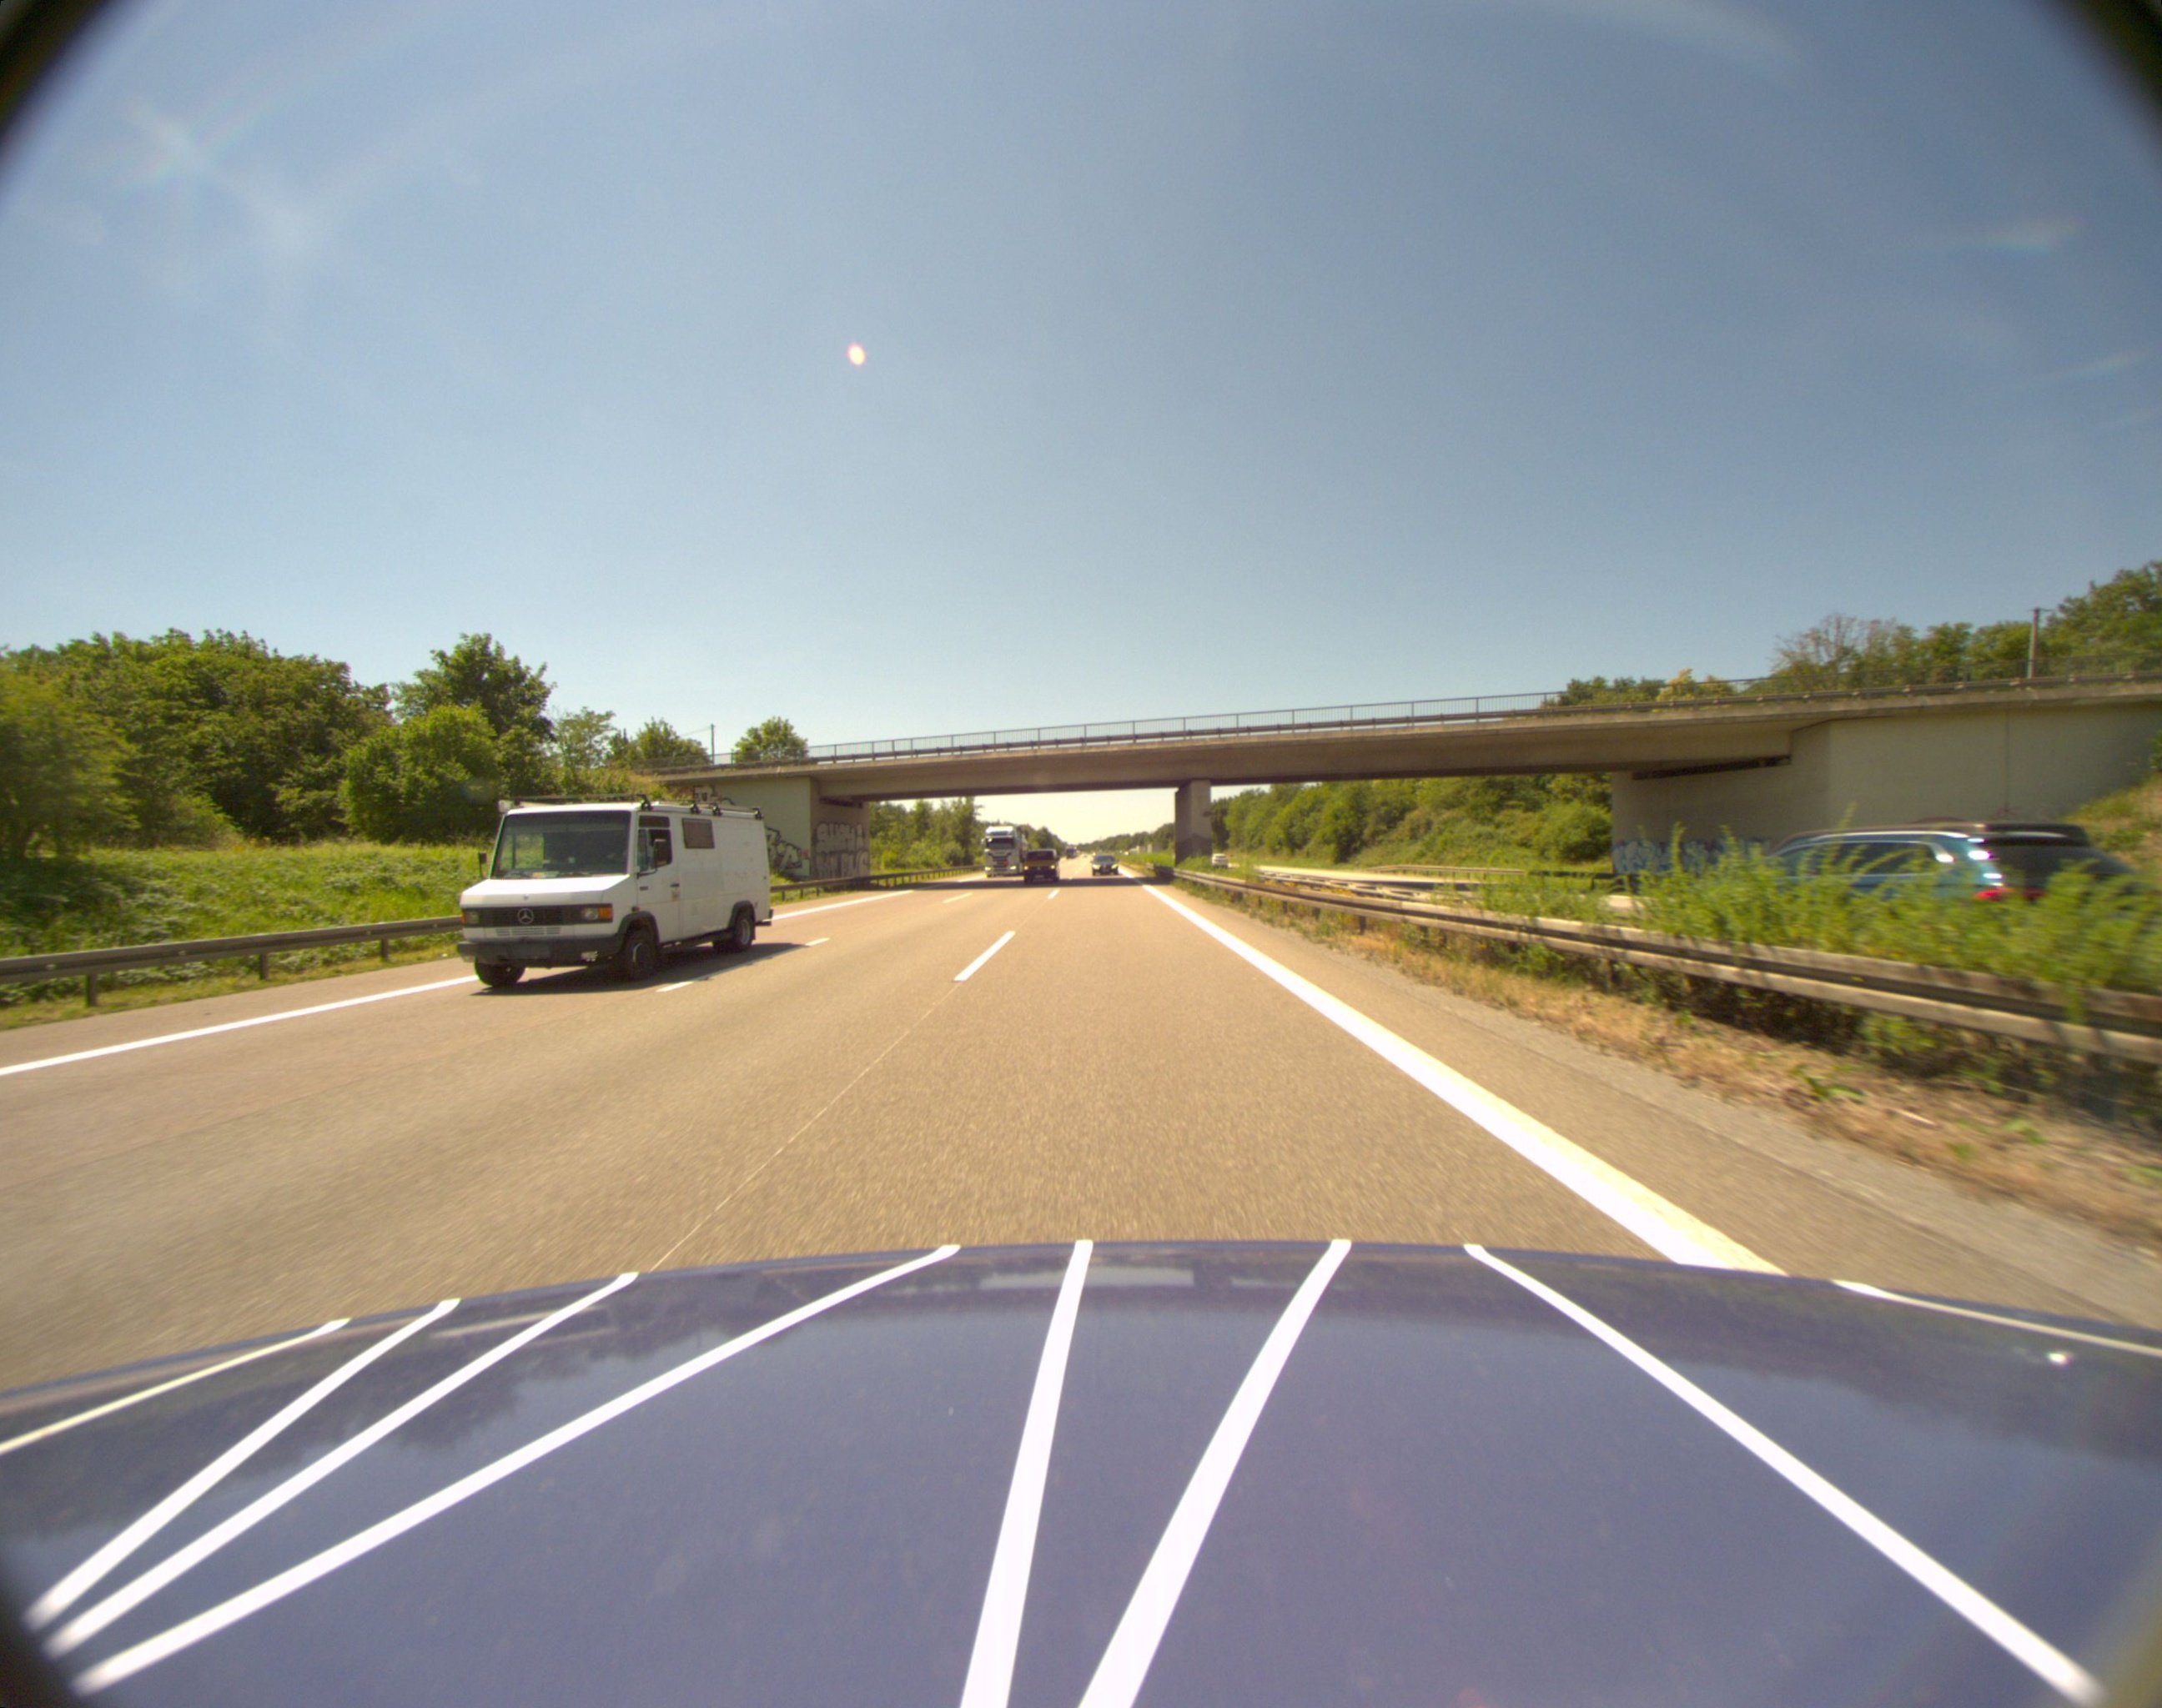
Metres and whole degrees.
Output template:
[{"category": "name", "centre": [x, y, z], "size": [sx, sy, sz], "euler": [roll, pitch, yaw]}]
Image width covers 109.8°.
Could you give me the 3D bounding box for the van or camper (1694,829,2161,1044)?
[{"category": "van or camper", "centre": [9.295, 0.677, 8.442], "size": [1.715, 1.759, 4.000], "euler": [-3, 1, 1]}]

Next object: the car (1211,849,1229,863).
[{"category": "car", "centre": [15.136, 0.242, 82.782], "size": [1.518, 1.379, 3.167], "euler": [-3, 1, 3]}]

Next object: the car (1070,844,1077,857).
[{"category": "car", "centre": [-2.357, -1.049, 239.355], "size": [2.298, 3.886, 9.268], "euler": [0, 1, 0]}]

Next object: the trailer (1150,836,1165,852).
[{"category": "trailer", "centre": [22.278, -2.849, 221.906], "size": [3.152, 4.224, 14.479], "euler": [-3, 1, 2]}]

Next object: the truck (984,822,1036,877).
[{"category": "truck", "centre": [-5.830, -0.411, 65.039], "size": [2.805, 4.022, 13.353], "euler": [-3, 1, 1]}]

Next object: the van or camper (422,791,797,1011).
[{"category": "van or camper", "centre": [-7.113, 0.562, 12.727], "size": [2.119, 2.687, 6.367], "euler": [-2, 1, 1]}]

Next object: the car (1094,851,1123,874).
[{"category": "car", "centre": [1.914, 0.580, 53.859], "size": [1.894, 1.541, 4.039], "euler": [0, 1, 0]}]

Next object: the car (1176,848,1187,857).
[{"category": "car", "centre": [16.200, -0.258, 122.733], "size": [1.398, 1.245, 3.585], "euler": [-4, 1, 1]}]

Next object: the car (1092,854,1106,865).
[{"category": "car", "centre": [2.571, 0.766, 106.646], "size": [1.894, 1.541, 4.039], "euler": [0, 1, 0]}]

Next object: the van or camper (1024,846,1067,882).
[{"category": "van or camper", "centre": [-2.065, 0.528, 45.780], "size": [2.063, 1.992, 5.884], "euler": [-2, 0, 2]}]

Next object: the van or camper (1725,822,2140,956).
[{"category": "van or camper", "centre": [13.793, 0.469, 12.858], "size": [1.998, 1.859, 4.455], "euler": [0, 1, 0]}]
